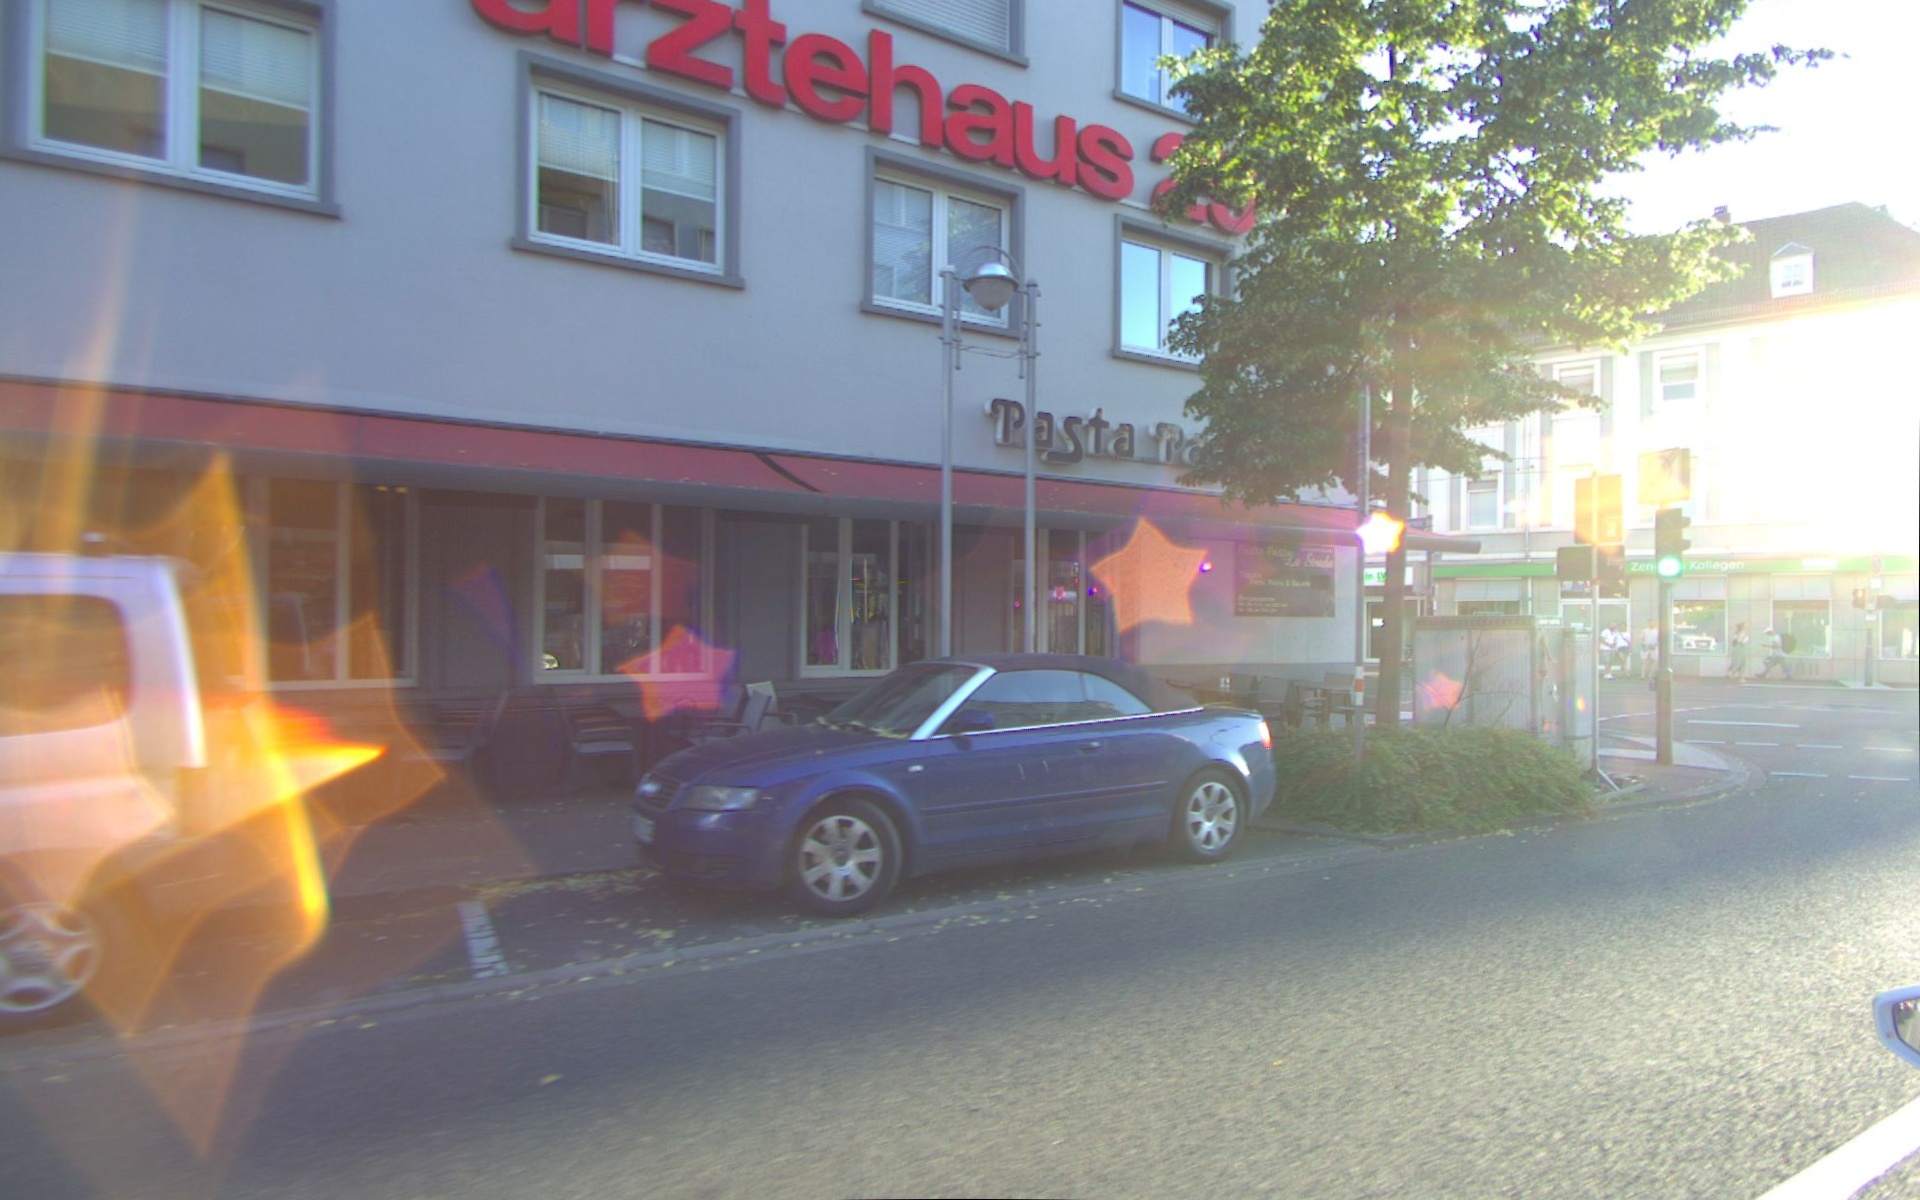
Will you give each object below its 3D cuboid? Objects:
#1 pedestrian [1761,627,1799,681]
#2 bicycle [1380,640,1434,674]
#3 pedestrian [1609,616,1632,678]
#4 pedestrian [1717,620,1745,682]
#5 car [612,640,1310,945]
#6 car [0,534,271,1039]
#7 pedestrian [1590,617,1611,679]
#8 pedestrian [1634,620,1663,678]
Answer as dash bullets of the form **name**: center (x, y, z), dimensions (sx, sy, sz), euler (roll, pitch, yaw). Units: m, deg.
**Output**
- **pedestrian**: center (24.676, 1.610, 30.247), dimensions (0.856, 1.569, 0.696), euler (-1, -1, 38)
- **bicycle**: center (15.442, 1.961, 34.702), dimensions (1.620, 1.104, 0.478), euler (-1, 0, 33)
- **pedestrian**: center (20.945, 1.475, 31.869), dimensions (0.520, 1.954, 0.639), euler (0, -1, 24)
- **pedestrian**: center (22.977, 1.503, 29.937), dimensions (0.637, 1.802, 0.669), euler (-1, -1, 38)
- **car**: center (0.112, 0.988, 6.715), dimensions (4.332, 1.404, 1.905), euler (1, -2, -31)
- **car**: center (-5.052, 0.672, 3.671), dimensions (4.105, 1.811, 1.903), euler (1, -2, -34)
- **pedestrian**: center (20.425, 1.517, 32.030), dimensions (0.487, 1.954, 0.575), euler (0, -1, 25)
- **pedestrian**: center (21.342, 1.502, 31.134), dimensions (0.688, 1.768, 0.637), euler (-1, -1, 38)
